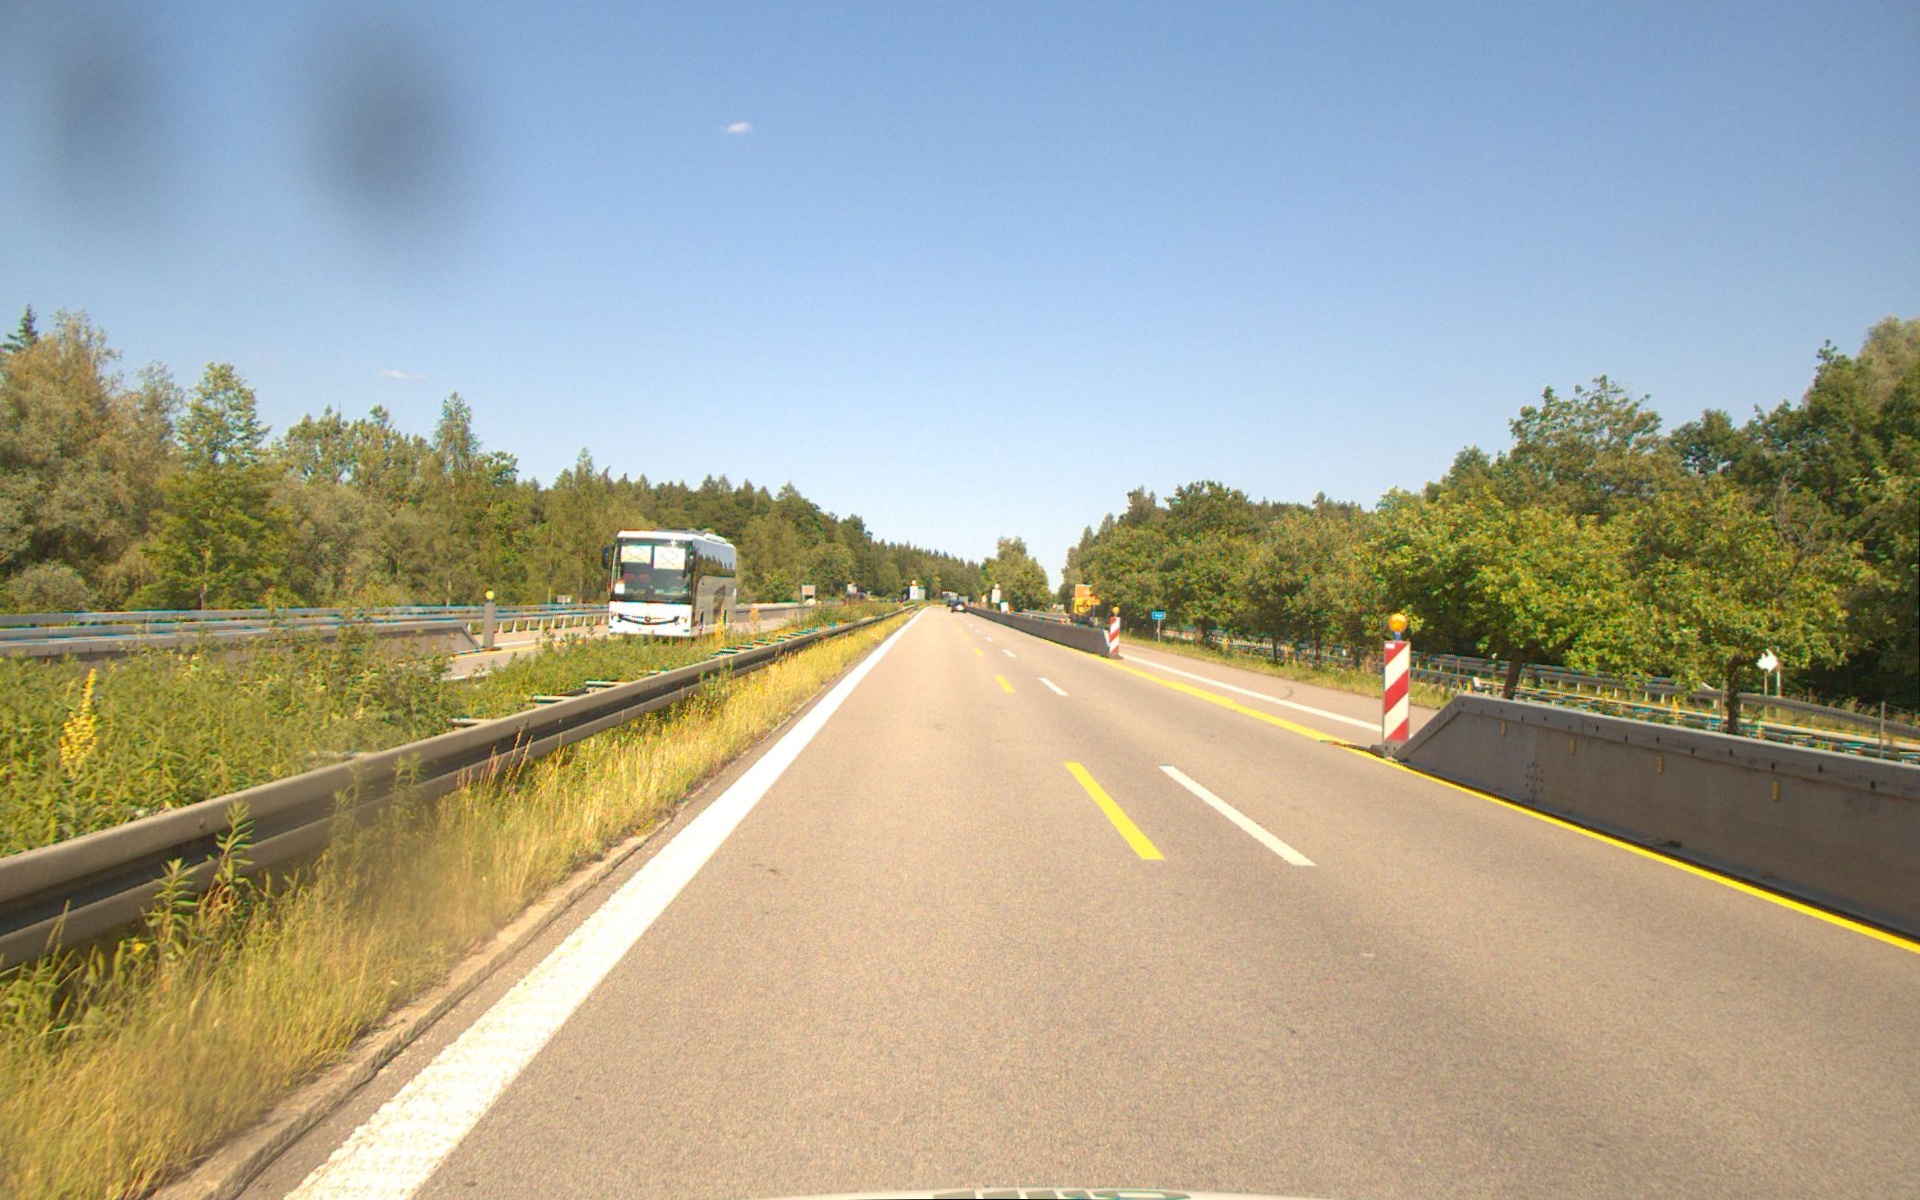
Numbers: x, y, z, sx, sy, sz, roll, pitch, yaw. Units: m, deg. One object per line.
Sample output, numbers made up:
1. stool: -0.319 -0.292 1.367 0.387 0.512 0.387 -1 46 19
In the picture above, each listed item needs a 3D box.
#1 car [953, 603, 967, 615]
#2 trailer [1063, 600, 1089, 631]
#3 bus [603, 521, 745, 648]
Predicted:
1. car: 0.004 1.103 201.603 1.708 1.492 4.293 1 0 -1
2. trailer: 7.293 0.956 104.390 1.102 1.906 3.998 1 0 -3
3. bus: -9.448 -0.477 56.187 2.823 3.735 12.913 2 0 -2
